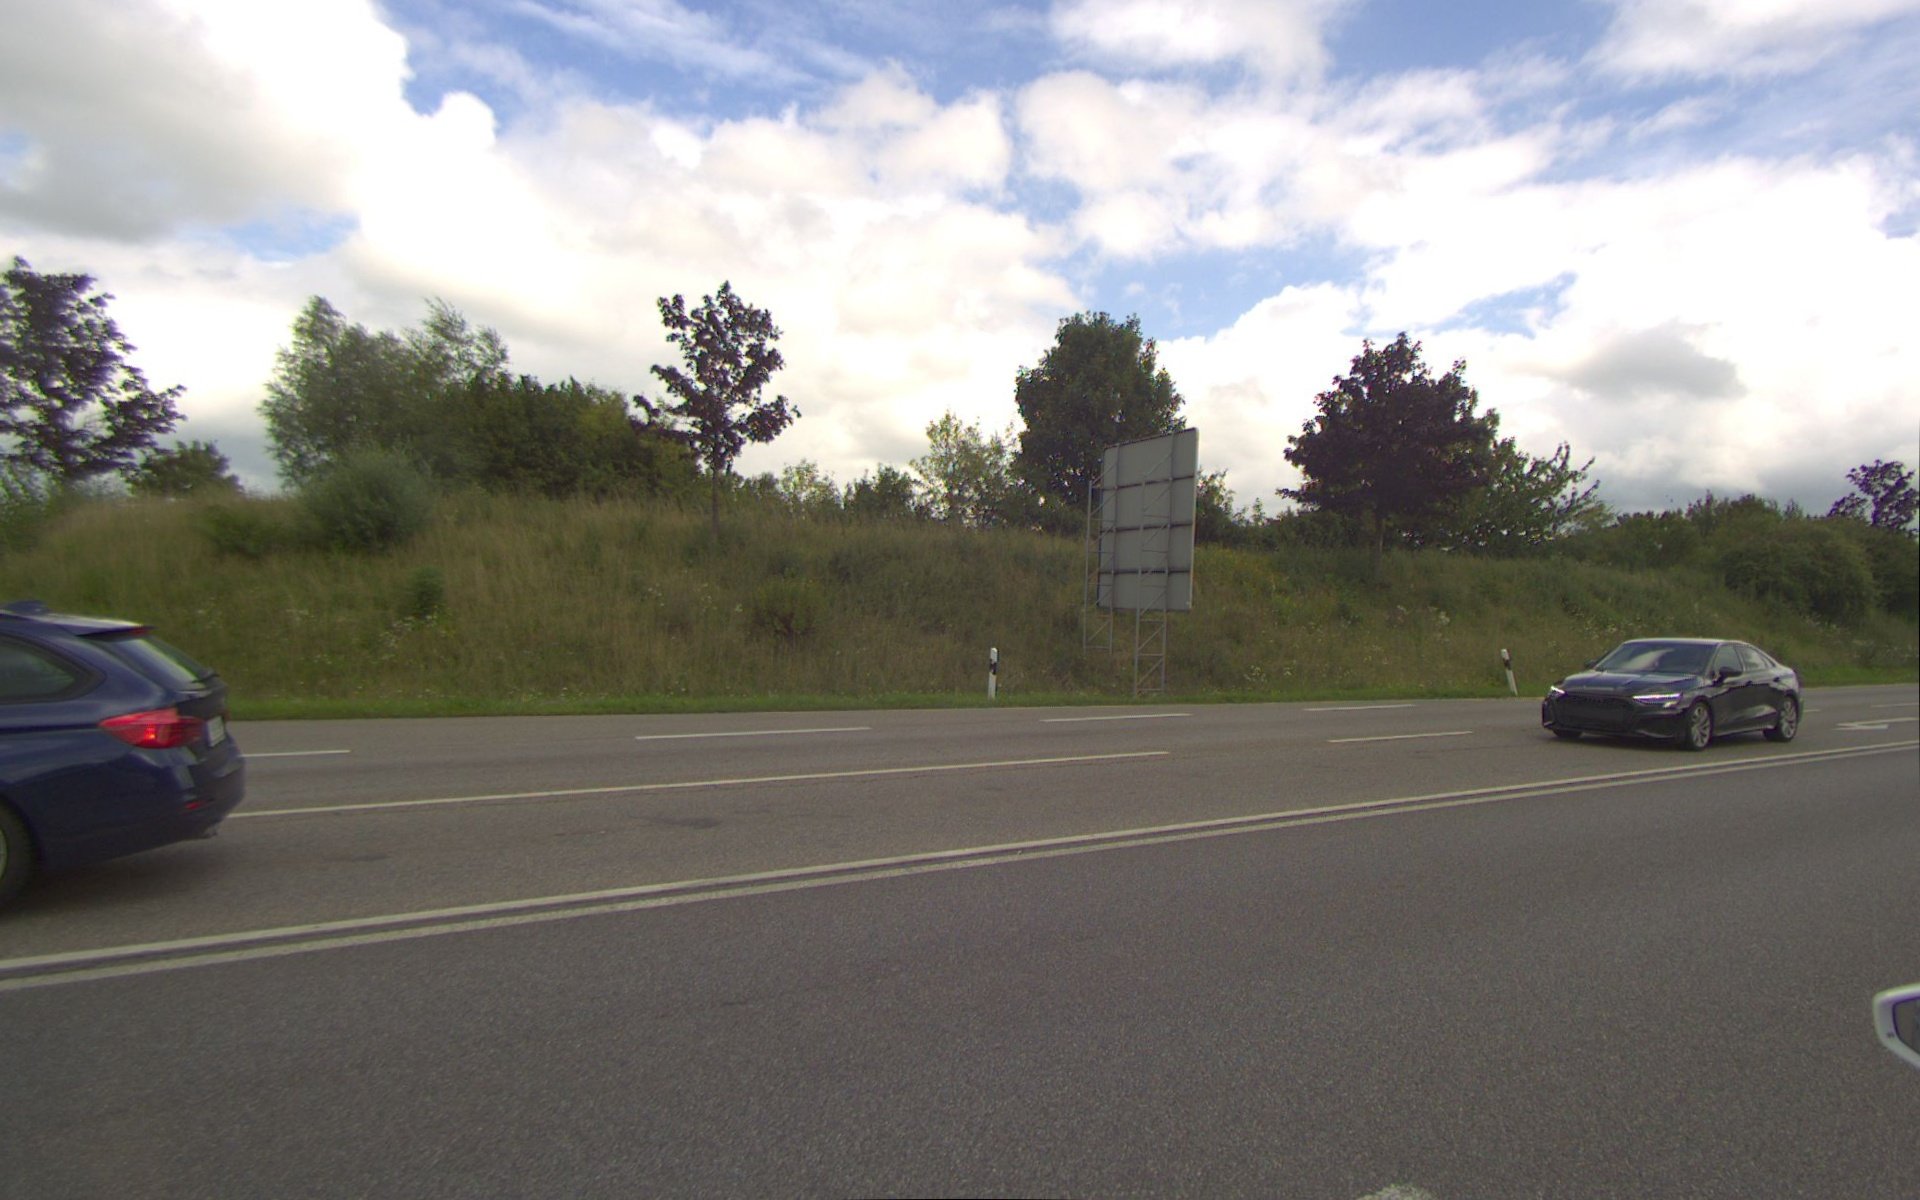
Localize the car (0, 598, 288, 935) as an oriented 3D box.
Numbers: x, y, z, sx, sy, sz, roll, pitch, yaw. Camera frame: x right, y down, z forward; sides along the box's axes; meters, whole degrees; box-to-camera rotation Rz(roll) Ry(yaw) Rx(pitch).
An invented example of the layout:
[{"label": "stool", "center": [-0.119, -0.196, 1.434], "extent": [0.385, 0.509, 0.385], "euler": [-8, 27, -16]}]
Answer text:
[{"label": "car", "center": [-6.079, 0.723, 4.596], "extent": [4.825, 1.503, 2.039], "euler": [2, -2, -31]}]

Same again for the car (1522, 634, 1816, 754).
[{"label": "car", "center": [9.991, 1.225, 14.066], "extent": [4.493, 1.401, 1.756], "euler": [2, -1, -32]}]
